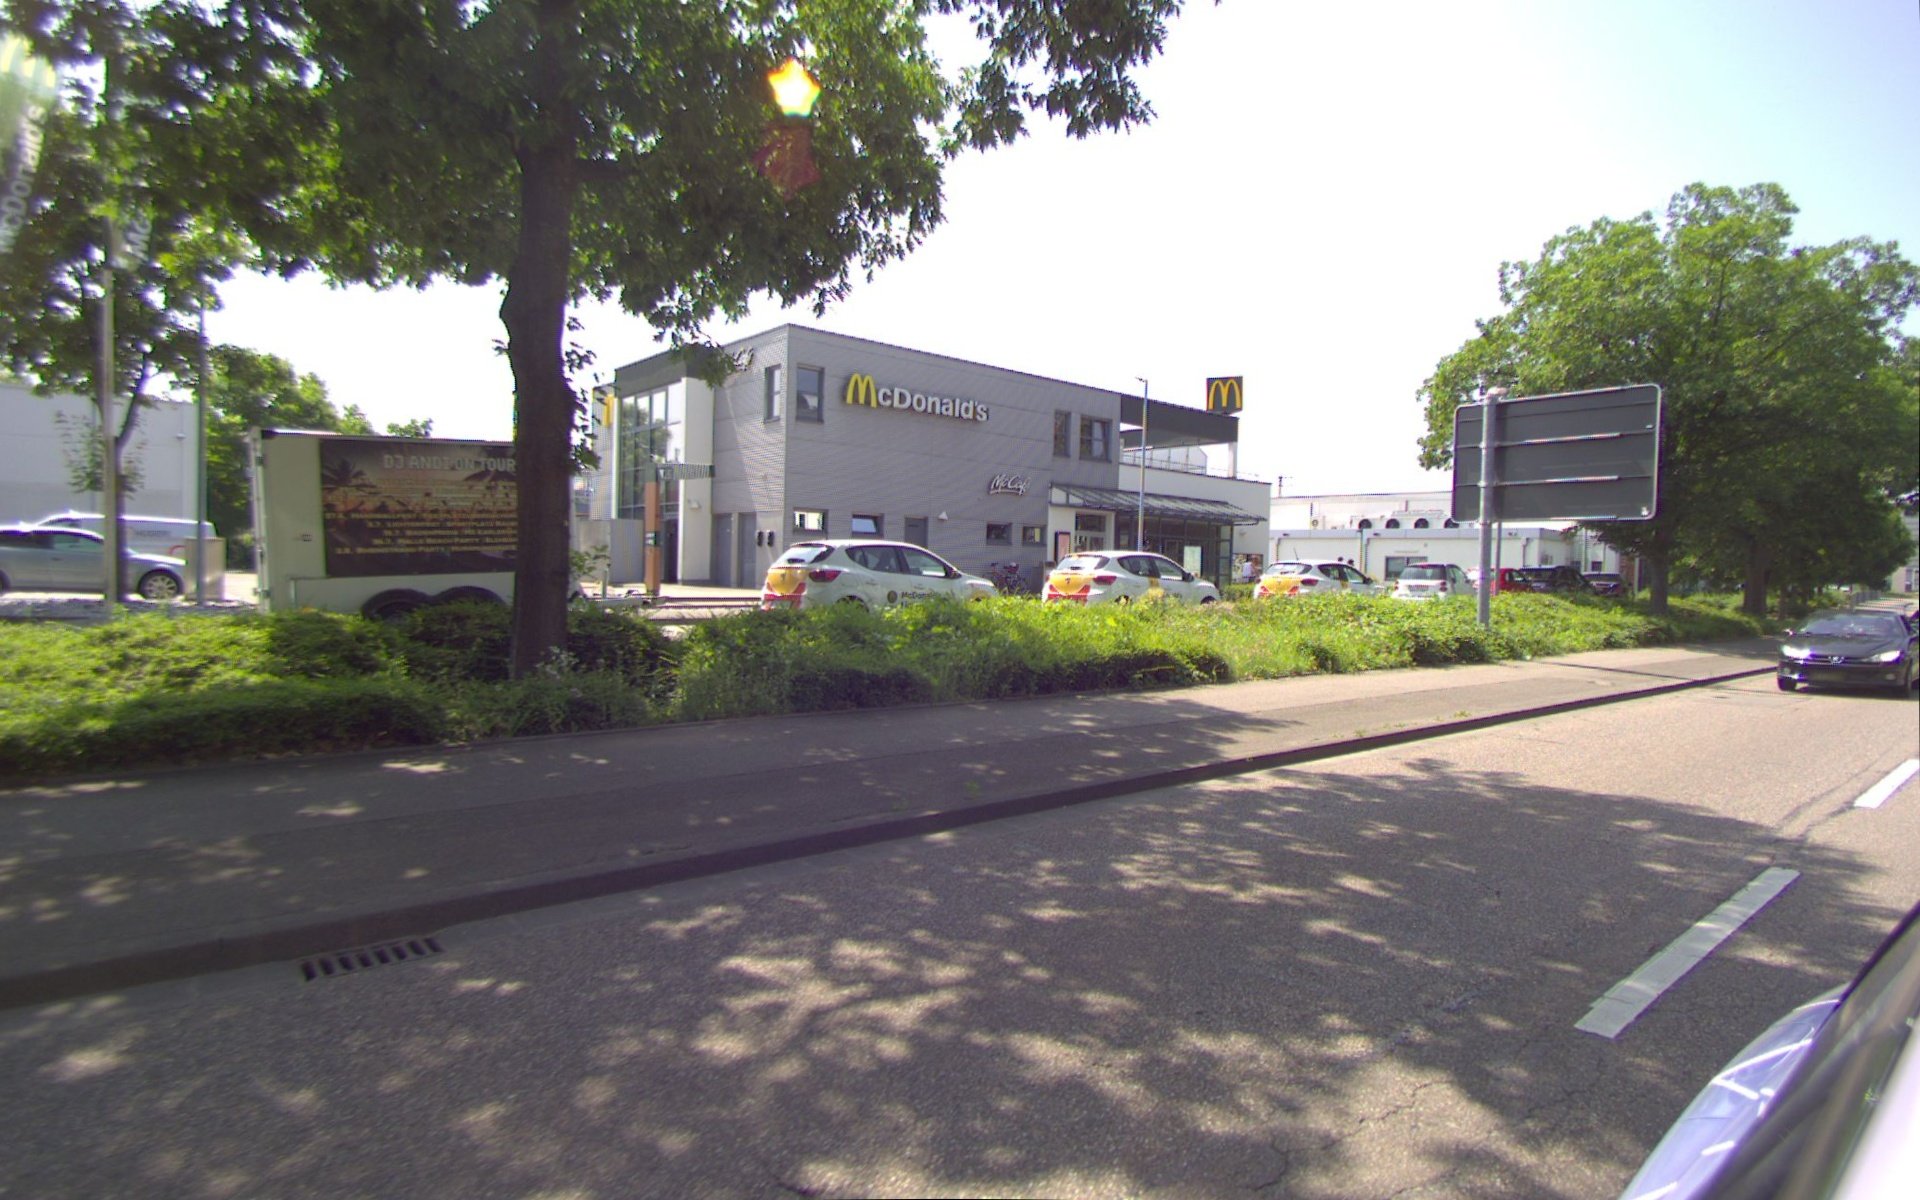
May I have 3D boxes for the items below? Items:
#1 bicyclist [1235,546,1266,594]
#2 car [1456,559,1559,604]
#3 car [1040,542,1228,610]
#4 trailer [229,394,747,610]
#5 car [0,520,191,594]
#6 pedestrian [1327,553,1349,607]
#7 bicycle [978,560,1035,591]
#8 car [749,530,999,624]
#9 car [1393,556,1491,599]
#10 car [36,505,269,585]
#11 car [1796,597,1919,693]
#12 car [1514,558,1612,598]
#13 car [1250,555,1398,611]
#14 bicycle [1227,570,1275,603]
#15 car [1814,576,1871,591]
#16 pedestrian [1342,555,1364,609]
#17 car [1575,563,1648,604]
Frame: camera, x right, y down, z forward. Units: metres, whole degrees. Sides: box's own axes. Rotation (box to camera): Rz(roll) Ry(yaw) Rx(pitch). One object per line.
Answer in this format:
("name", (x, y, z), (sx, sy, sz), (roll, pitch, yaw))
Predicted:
("bicyclist", (11.264, -1.153, 39.242), (0.849, 1.826, 0.779), (0, 2, -43))
("car", (16.691, -0.579, 30.804), (3.699, 1.268, 1.621), (-1, 2, -42))
("car", (3.400, -0.466, 19.452), (3.673, 1.172, 1.596), (-1, 2, -41))
("trailer", (-5.402, -0.972, 12.120), (5.383, 2.081, 1.705), (0, 1, -38))
("car", (-17.337, -0.827, 19.687), (3.710, 1.356, 1.587), (0, 2, -40))
("pedestrian", (13.843, -0.723, 37.062), (0.401, 1.945, 0.582), (0, 2, -40))
("bicycle", (1.605, -0.825, 34.632), (2.064, 0.992, 0.590), (0, 2, -39))
("car", (-1.244, -0.360, 15.432), (3.568, 1.268, 1.621), (-1, 2, -42))
("car", (13.433, -0.627, 28.163), (2.807, 1.136, 1.509), (-1, 2, -42))
("car", (-20.570, -1.356, 25.951), (4.550, 1.827, 1.713), (0, 2, -41))
("car", (15.358, 0.686, 17.091), (1.637, 1.373, 3.444), (2, 2, 44))
("car", (20.388, -0.721, 34.158), (4.125, 1.268, 1.622), (-1, 0, -40))
("car", (8.952, -0.428, 24.772), (3.795, 1.268, 1.624), (-1, 2, -37))
("bicycle", (11.320, -0.515, 39.312), (2.205, 1.240, 0.692), (0, 3, -43))
("car", (97.619, -1.876, 111.963), (1.670, 1.523, 4.580), (-1, 3, -45))
("pedestrian", (14.248, -0.651, 36.668), (0.525, 1.945, 0.467), (0, 2, -41))
("car", (25.133, -0.652, 38.956), (1.901, 1.469, 5.525), (1, 2, 38))
